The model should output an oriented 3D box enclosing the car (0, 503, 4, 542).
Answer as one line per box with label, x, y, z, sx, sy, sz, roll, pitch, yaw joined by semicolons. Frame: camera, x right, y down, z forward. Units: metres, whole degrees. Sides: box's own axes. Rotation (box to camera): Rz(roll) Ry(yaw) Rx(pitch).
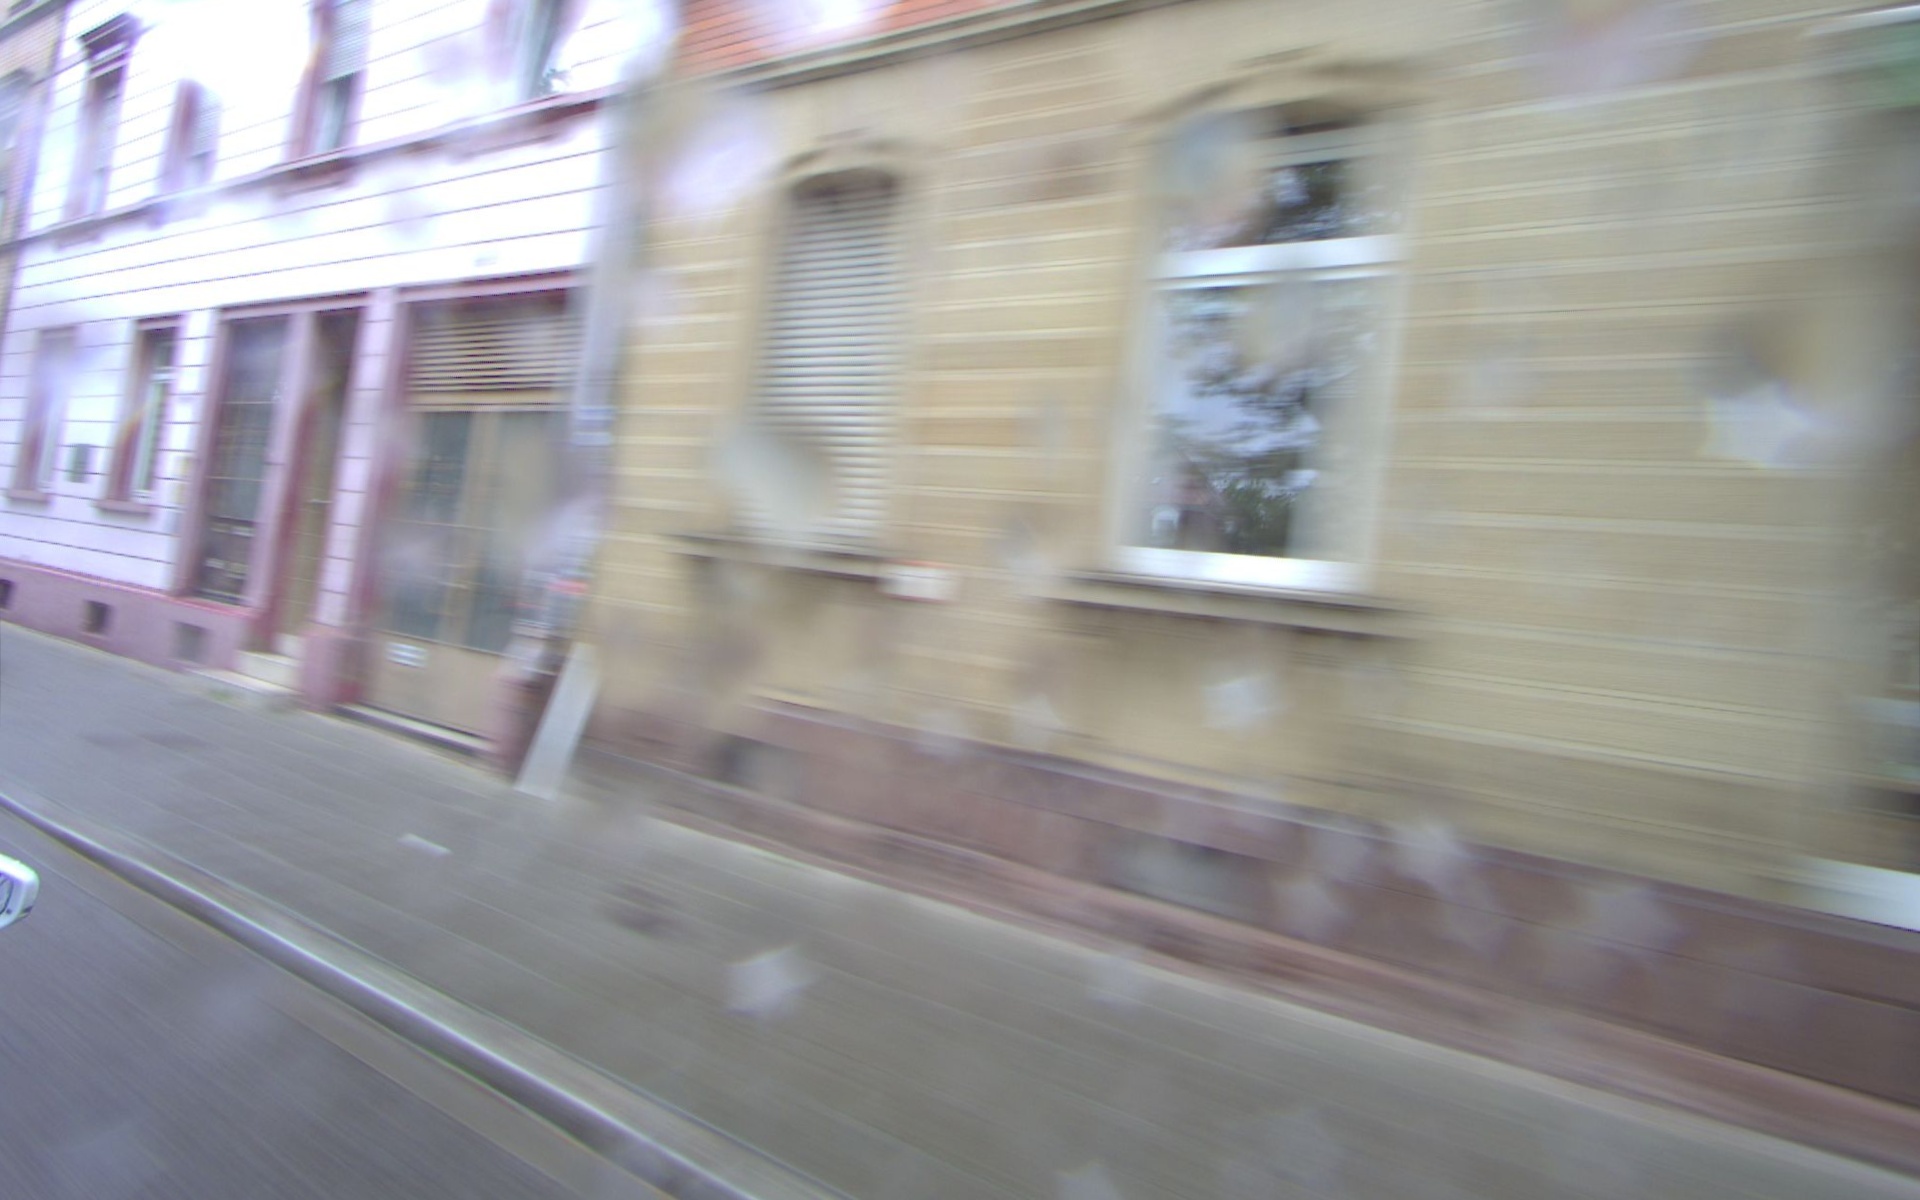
car;-10.548;-0.373;9.052;4.622;1.438;1.815;6;0;34
